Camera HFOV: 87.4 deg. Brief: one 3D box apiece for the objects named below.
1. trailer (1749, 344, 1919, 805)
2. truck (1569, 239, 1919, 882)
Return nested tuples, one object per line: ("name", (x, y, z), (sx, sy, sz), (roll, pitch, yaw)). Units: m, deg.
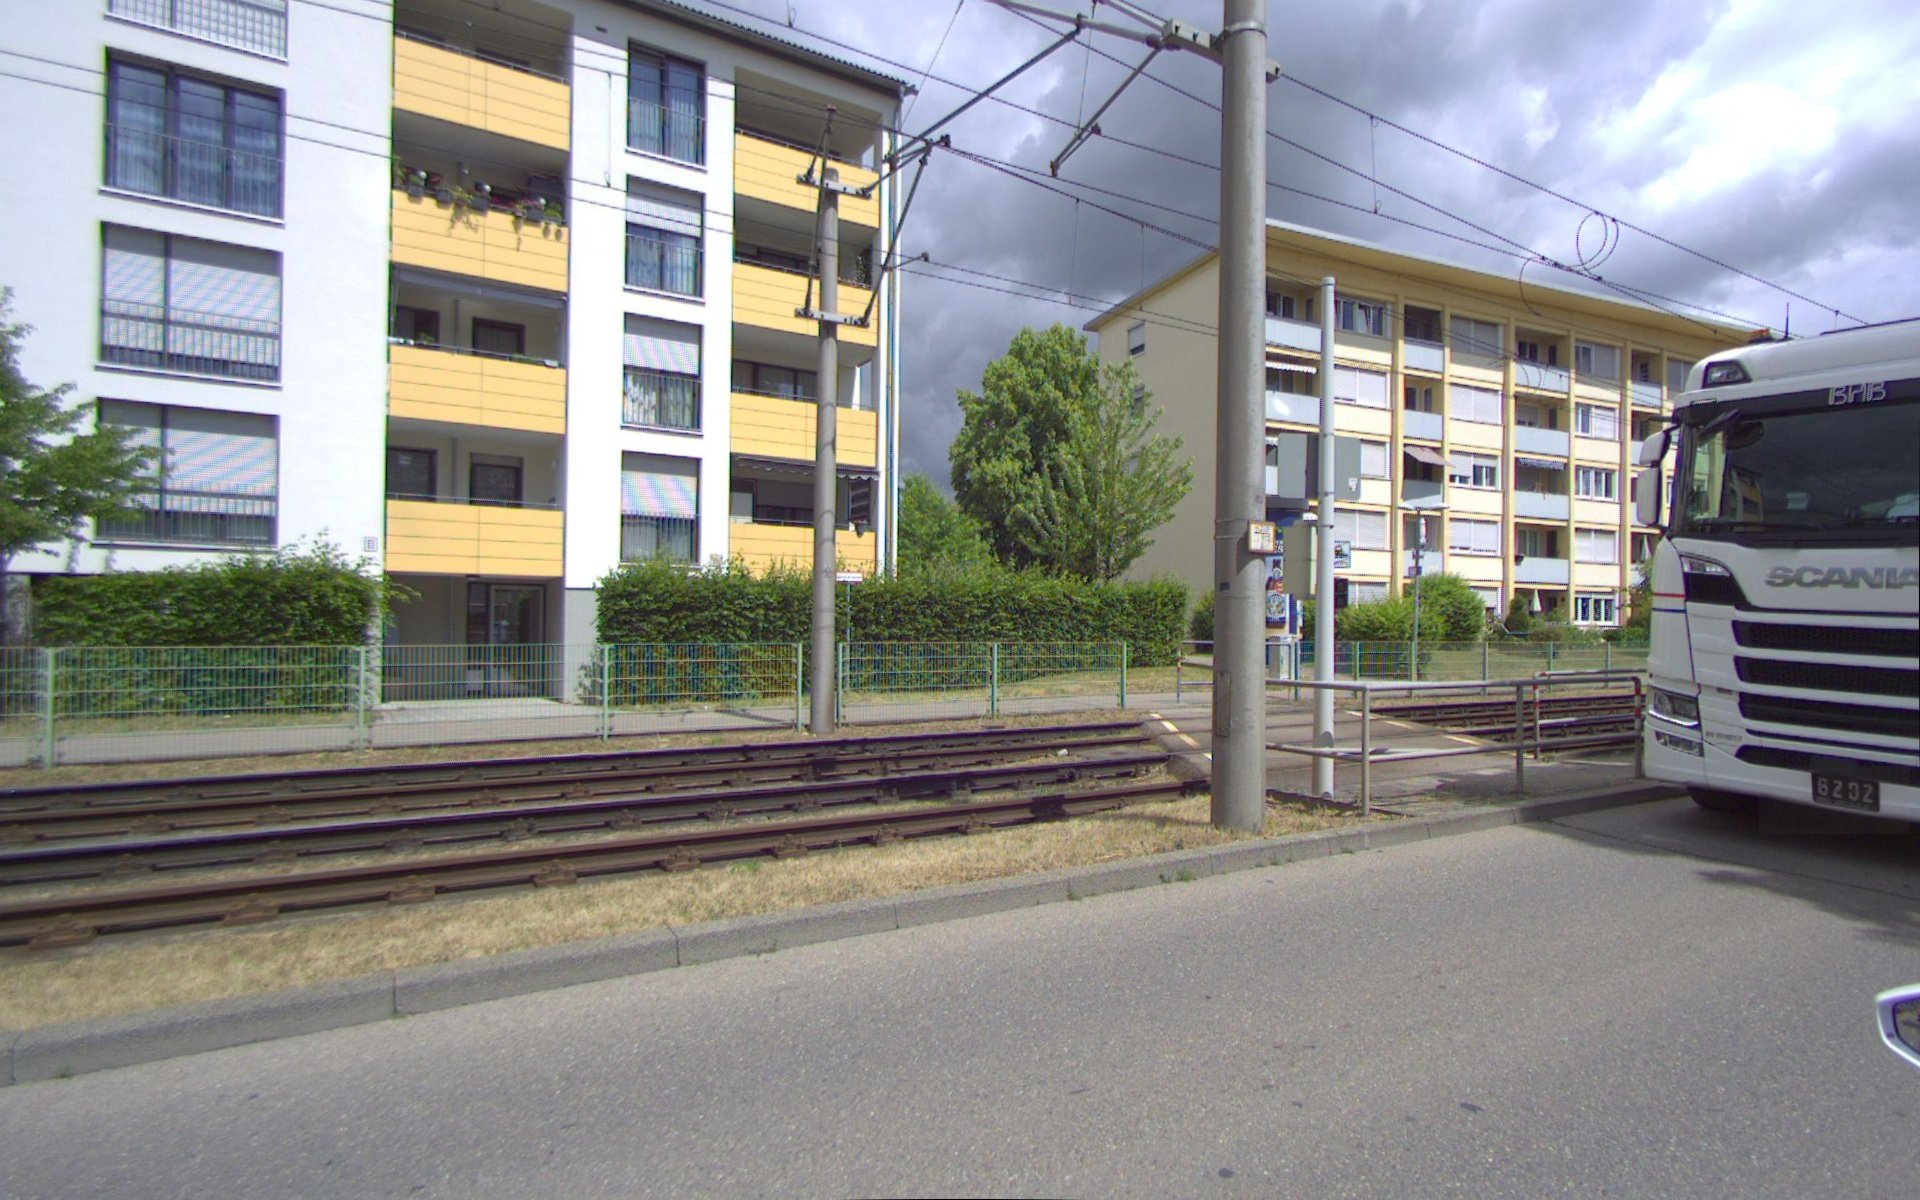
("trailer", (13.446, -0.126, 11.200), (13.517, 3.628, 2.684), (1, 0, -31))
("truck", (7.734, -0.199, 7.721), (6.074, 3.628, 2.684), (1, 1, -31))
